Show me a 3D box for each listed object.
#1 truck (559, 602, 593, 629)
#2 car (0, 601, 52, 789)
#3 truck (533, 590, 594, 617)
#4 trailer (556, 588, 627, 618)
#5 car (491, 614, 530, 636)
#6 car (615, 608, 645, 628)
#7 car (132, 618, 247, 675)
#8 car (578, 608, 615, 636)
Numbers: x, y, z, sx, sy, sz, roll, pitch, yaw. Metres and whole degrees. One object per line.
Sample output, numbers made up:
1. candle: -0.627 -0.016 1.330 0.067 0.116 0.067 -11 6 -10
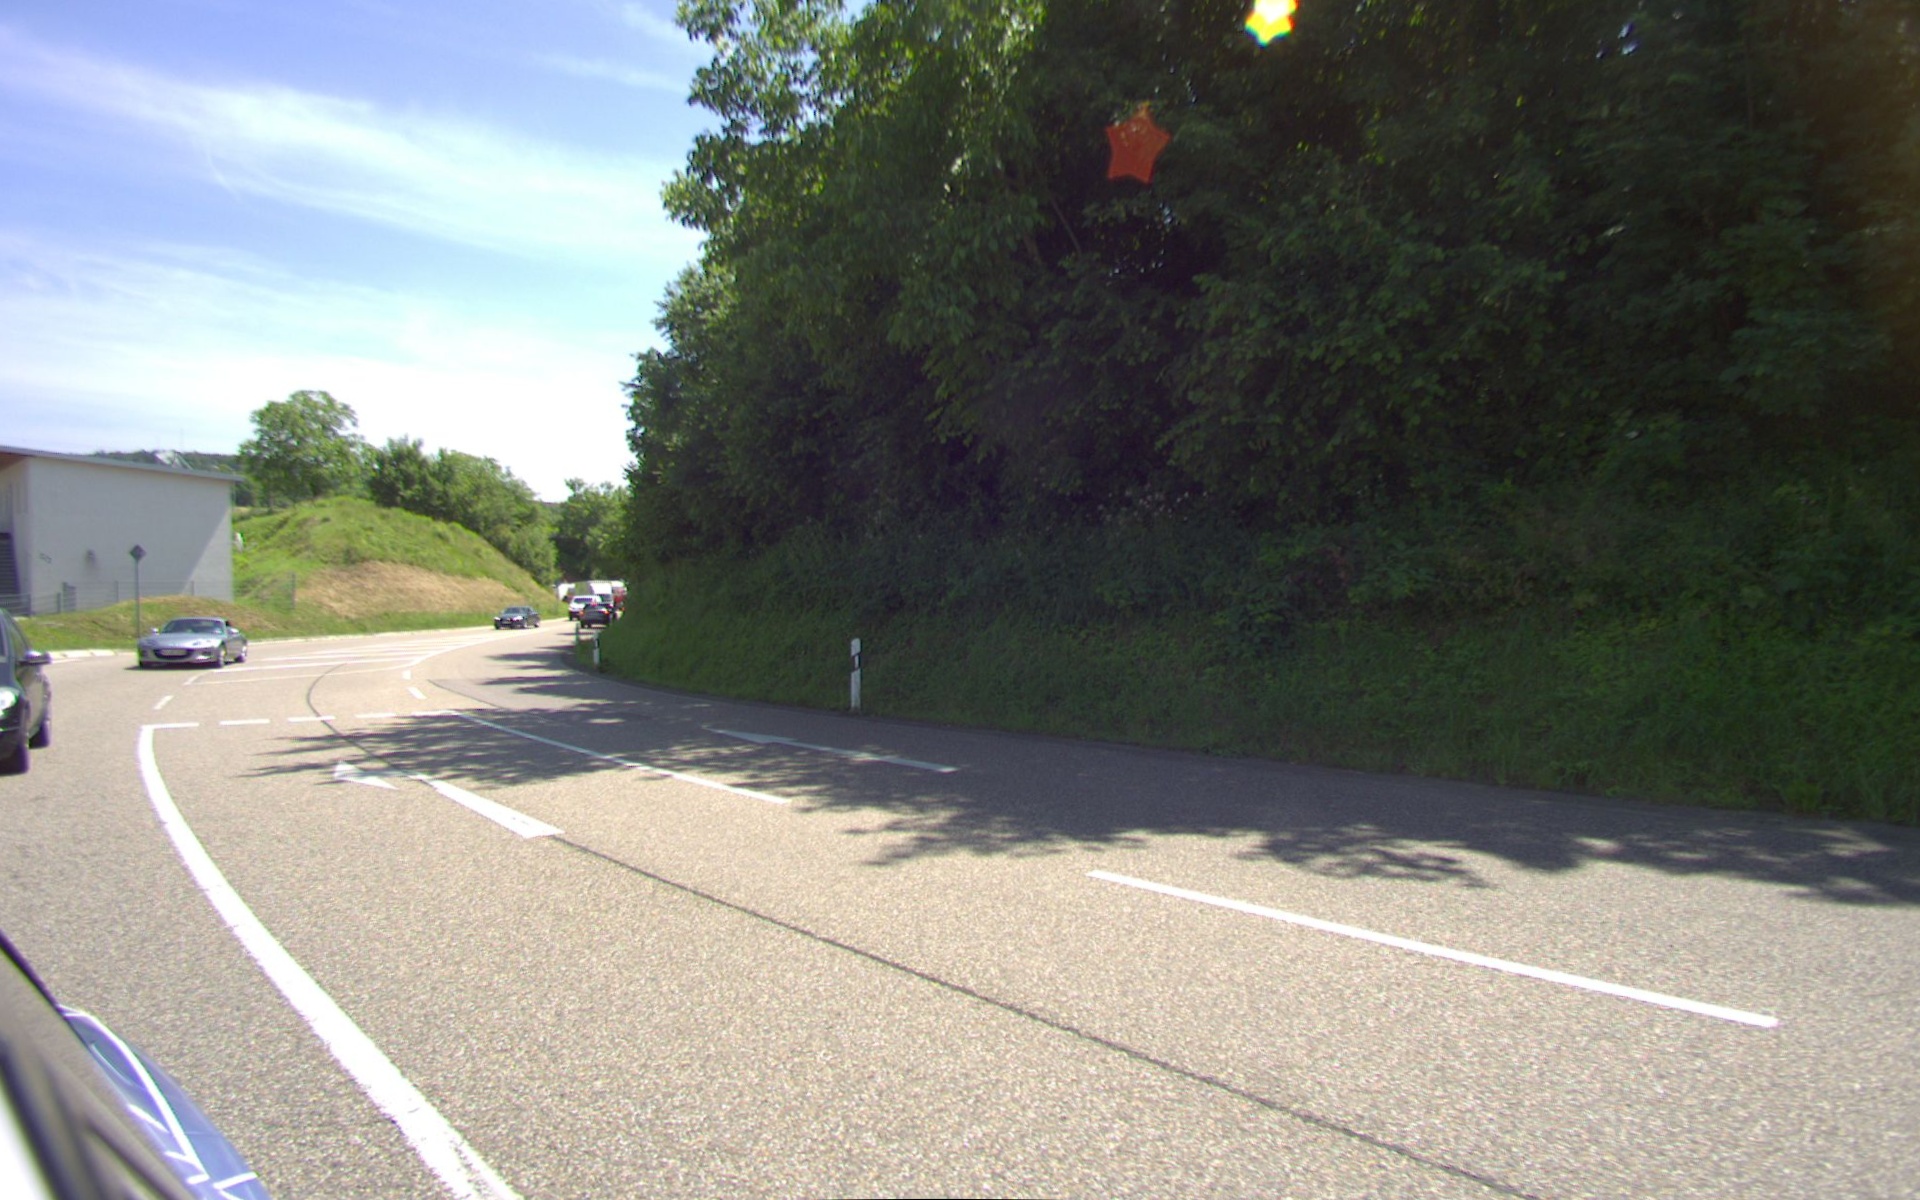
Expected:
1. truck: -30.440 1.205 80.331 2.038 2.028 5.259 -1 -1 -15
2. car: -9.926 0.822 9.494 1.768 1.591 3.807 1 -2 -37
3. truck: -48.275 0.460 123.316 7.014 3.194 2.617 0 0 20
4. trailer: -43.577 0.406 119.530 11.131 3.398 2.607 0 0 39
5. car: -27.614 1.516 62.238 1.726 1.298 4.158 1 -1 -17
6. car: -26.217 1.453 80.450 1.727 1.459 4.009 1 -2 -11
7. car: -19.738 1.153 26.061 1.620 1.332 3.449 2 -1 -25
8. car: -22.446 1.309 62.591 1.766 1.617 4.192 2 -1 -15
